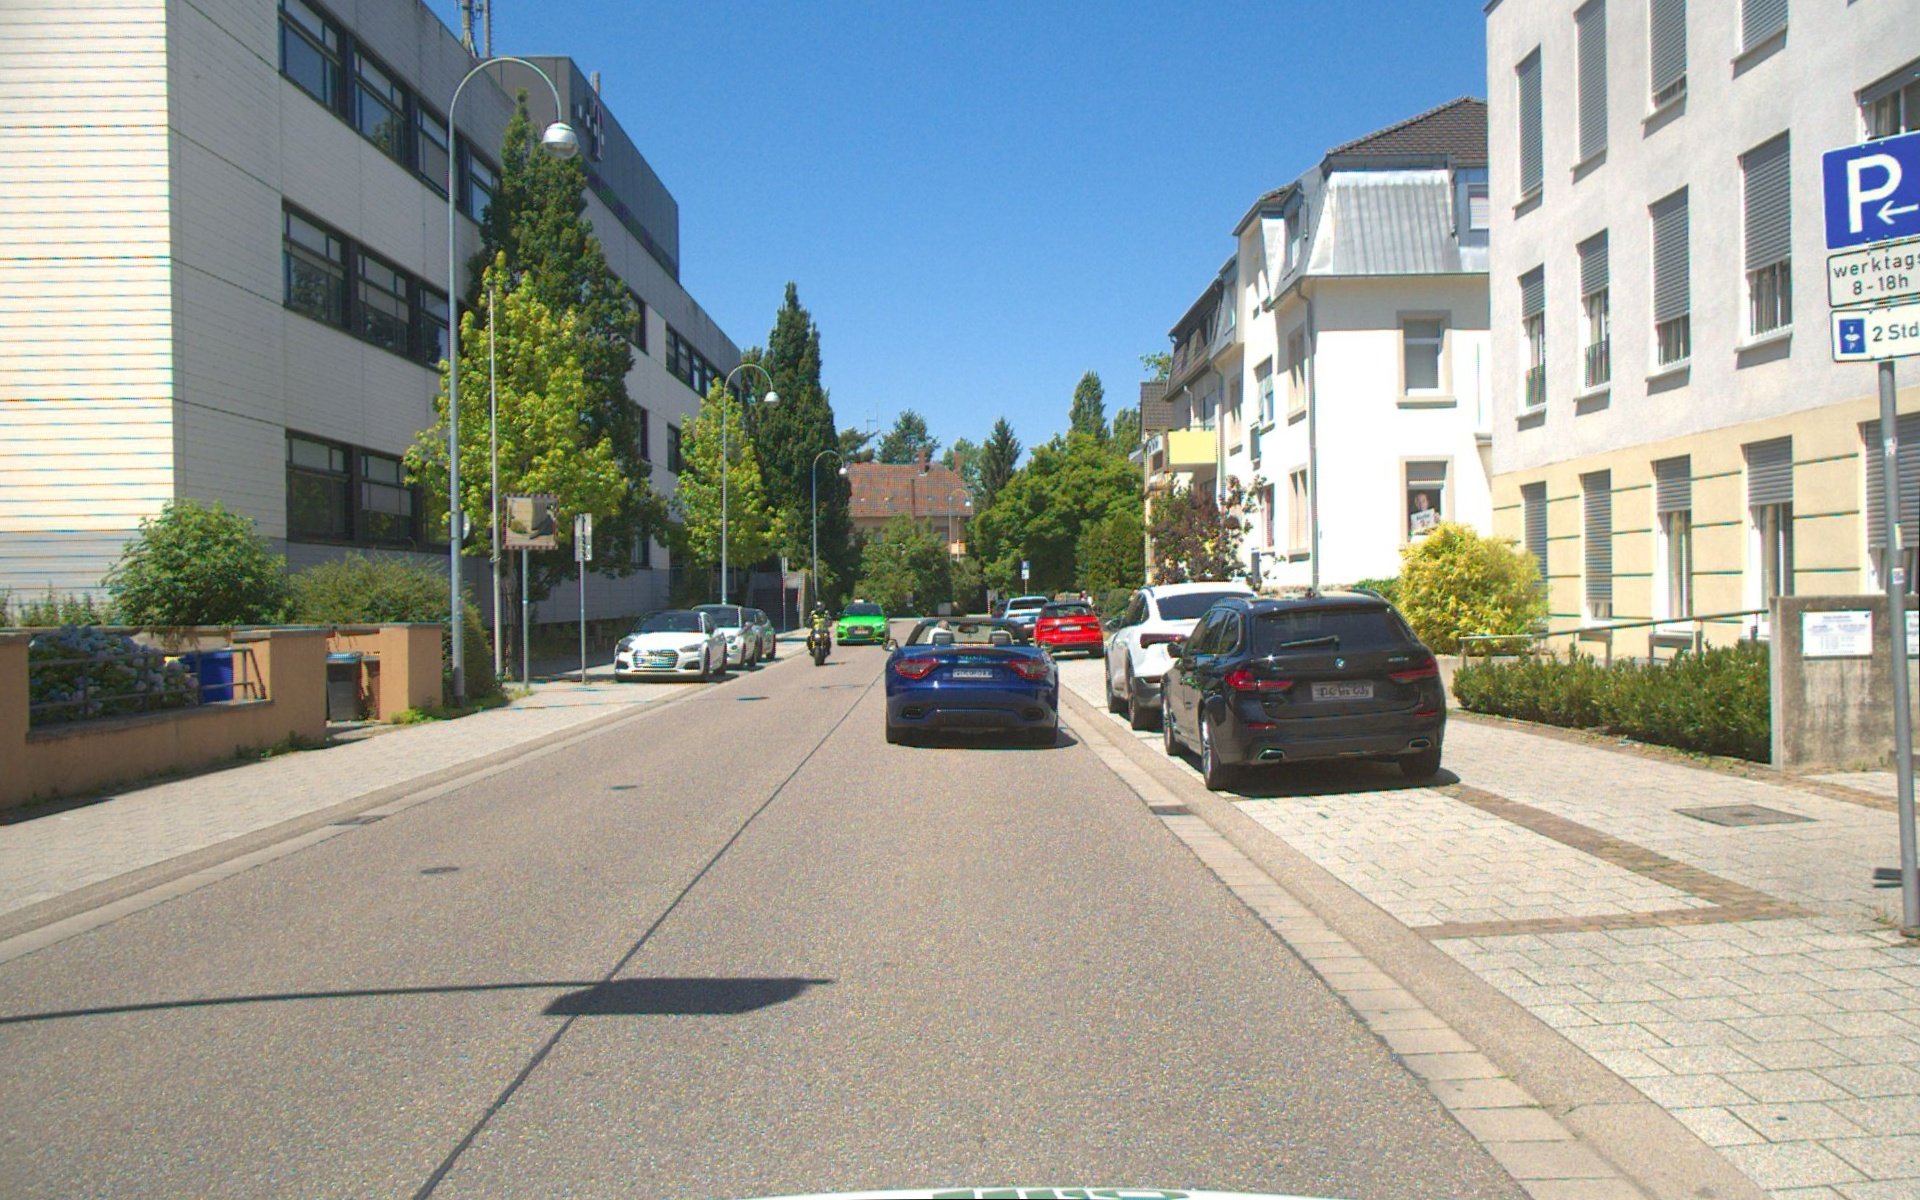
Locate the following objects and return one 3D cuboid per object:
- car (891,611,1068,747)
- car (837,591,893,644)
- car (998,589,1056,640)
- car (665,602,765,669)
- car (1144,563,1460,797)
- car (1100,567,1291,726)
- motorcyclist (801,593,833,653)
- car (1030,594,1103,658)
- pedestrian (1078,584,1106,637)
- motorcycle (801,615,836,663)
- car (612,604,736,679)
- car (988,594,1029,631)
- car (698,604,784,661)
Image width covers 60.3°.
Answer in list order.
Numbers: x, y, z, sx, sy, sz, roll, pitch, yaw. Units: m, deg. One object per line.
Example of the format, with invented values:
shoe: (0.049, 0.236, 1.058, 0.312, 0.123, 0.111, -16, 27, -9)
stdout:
car: (0.181, 0.815, 19.109, 1.789, 1.360, 4.699, 0, 0, -1)
car: (-3.362, 0.595, 58.985, 1.785, 1.616, 4.100, -2, 2, -1)
car: (2.344, 0.495, 58.892, 1.806, 1.647, 4.427, -3, 0, 0)
car: (-5.881, 0.824, 40.131, 1.785, 1.538, 4.289, 0, 0, 0)
car: (2.770, 0.584, 14.484, 1.670, 1.583, 4.747, -4, 0, 0)
car: (2.810, 0.516, 20.644, 1.670, 1.695, 4.580, -2, 0, 0)
motorcyclist: (-3.548, 0.575, 41.198, 0.684, 1.458, 0.707, -2, 0, 0)
car: (2.675, 0.628, 42.136, 1.571, 1.466, 3.853, -4, 0, 1)
pedestrian: (4.341, 0.344, 54.463, 0.725, 1.698, 0.705, -3, 0, -2)
motorcycle: (-3.536, 0.967, 41.381, 0.684, 1.126, 1.790, -2, 0, 0)
car: (-5.867, 0.815, 34.424, 1.785, 1.436, 4.577, 1, 0, 0)
car: (2.131, 0.544, 73.424, 1.598, 1.471, 4.397, -3, 0, -1)
car: (-5.900, 0.847, 44.935, 1.712, 1.434, 3.933, -1, 0, 1)
